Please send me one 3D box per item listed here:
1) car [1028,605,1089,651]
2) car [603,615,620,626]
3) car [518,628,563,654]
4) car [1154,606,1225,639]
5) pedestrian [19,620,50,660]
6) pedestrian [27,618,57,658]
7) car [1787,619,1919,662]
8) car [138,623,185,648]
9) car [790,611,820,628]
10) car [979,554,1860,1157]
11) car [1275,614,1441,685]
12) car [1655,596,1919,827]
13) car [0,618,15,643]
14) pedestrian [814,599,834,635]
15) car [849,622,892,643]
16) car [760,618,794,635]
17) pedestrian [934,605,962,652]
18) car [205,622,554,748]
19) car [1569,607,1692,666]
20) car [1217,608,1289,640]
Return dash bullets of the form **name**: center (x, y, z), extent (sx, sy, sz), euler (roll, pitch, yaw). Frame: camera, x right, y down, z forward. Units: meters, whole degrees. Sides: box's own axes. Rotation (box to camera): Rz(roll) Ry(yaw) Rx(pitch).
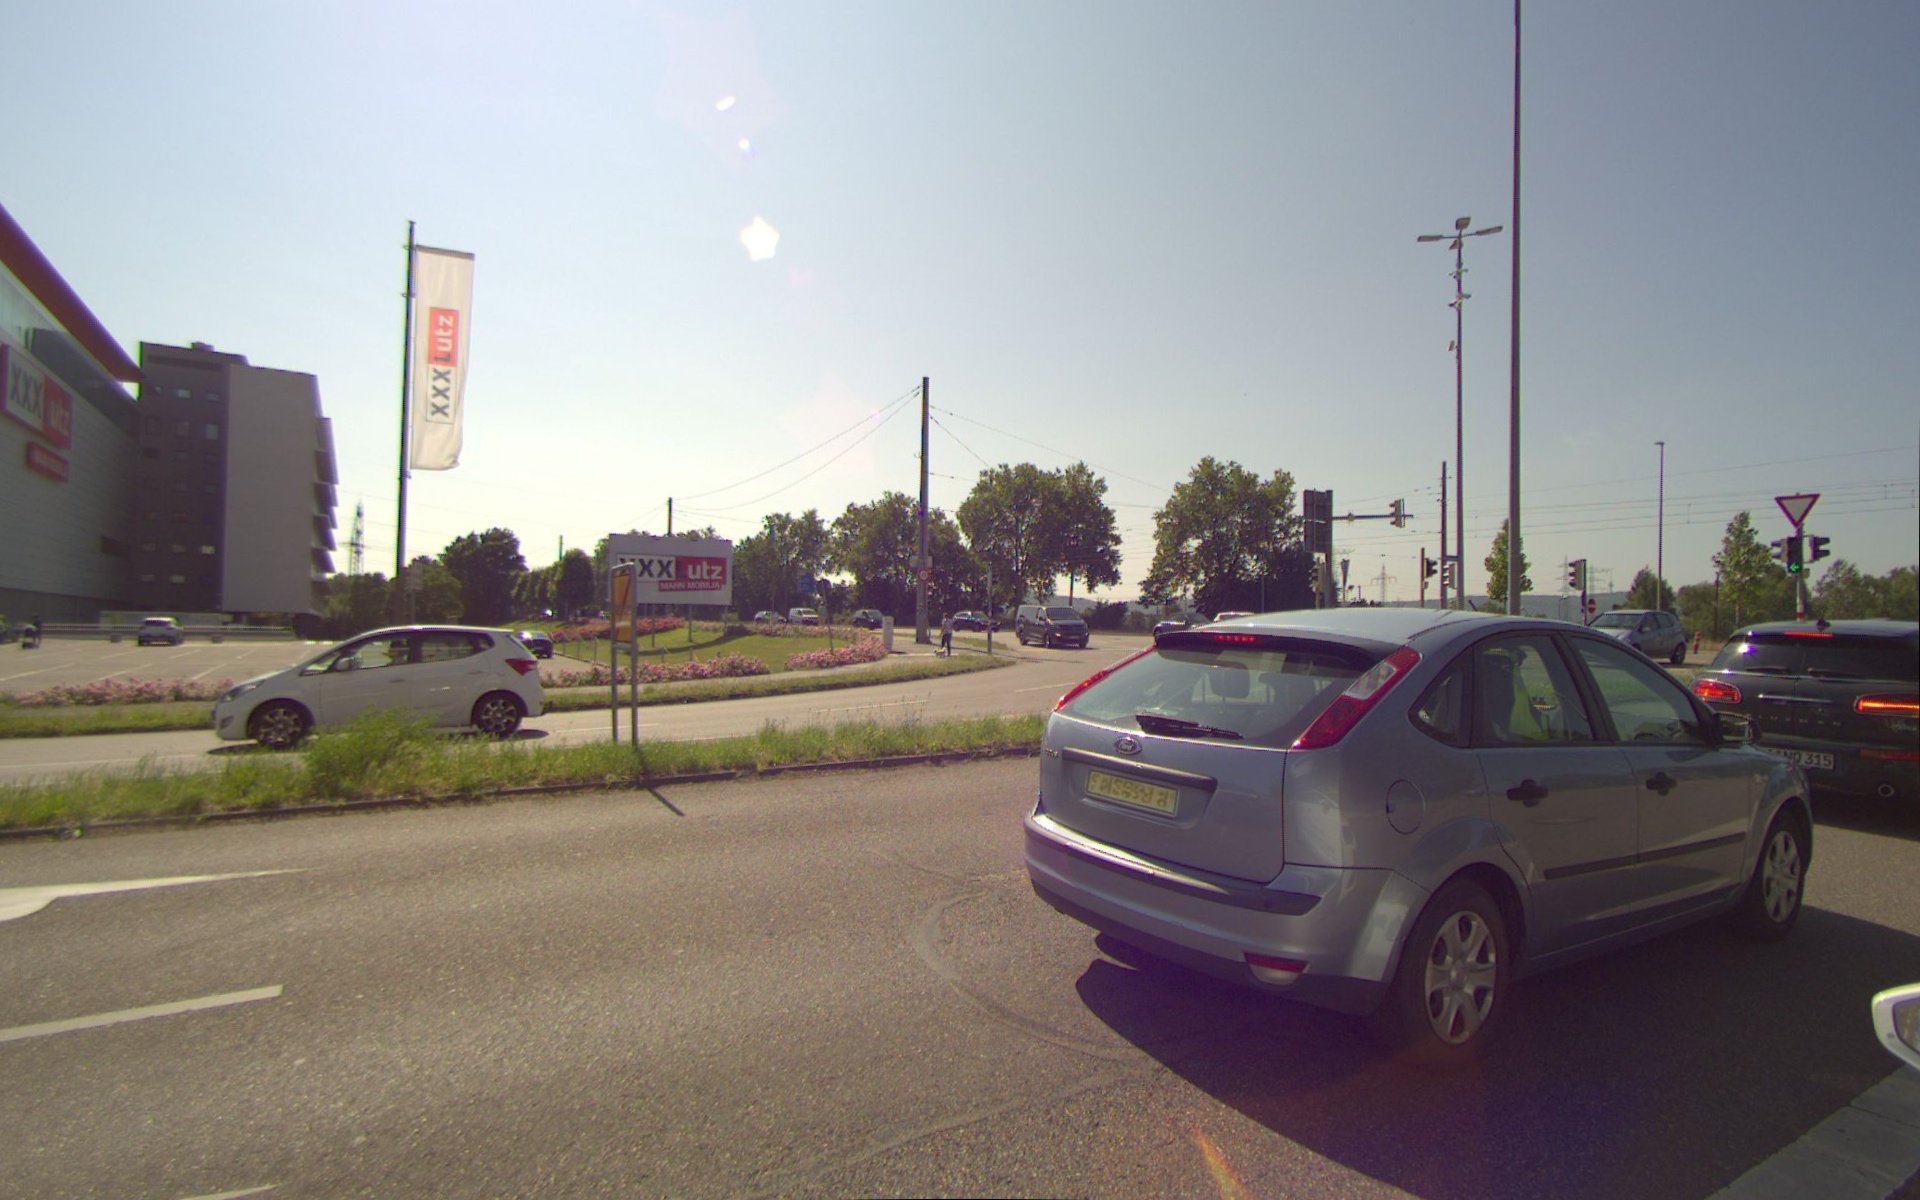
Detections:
- **car**: center (4.420, 1.243, 45.808), extent (1.784, 1.951, 3.993), euler (0, 0, -10)
- **car**: center (-54.485, 3.163, 156.912), extent (1.615, 1.646, 3.751), euler (1, -1, -33)
- **car**: center (-23.563, 2.275, 56.374), extent (1.710, 1.347, 3.826), euler (3, -2, -32)
- **car**: center (11.316, 1.109, 49.616), extent (1.395, 1.519, 3.366), euler (3, -2, -33)
- **pedestrian**: center (-47.611, 2.065, 51.704), extent (0.964, 2.040, 0.941), euler (1, -2, -31)
- **pedestrian**: center (-48.283, 1.999, 52.853), extent (0.964, 2.040, 0.941), euler (1, -2, -31)
- **car**: center (33.484, 1.450, 36.806), extent (4.720, 1.523, 2.065), euler (0, -1, -2)
- **car**: center (-47.385, 2.101, 59.686), extent (1.733, 1.347, 3.642), euler (3, -2, -32)
- **car**: center (-15.367, 1.961, 99.504), extent (1.615, 1.646, 3.751), euler (1, -1, -33)
- **car**: center (2.256, 0.735, 4.537), extent (4.130, 1.594, 1.696), euler (1, -2, -34)
- **car**: center (6.141, 0.738, 15.485), extent (2.463, 1.017, 1.112), euler (1, -2, -30)
- **car**: center (7.767, 0.790, 8.403), extent (4.154, 1.531, 1.728), euler (1, -2, -32)
- **car**: center (-53.954, 1.652, 55.806), extent (1.499, 1.347, 3.070), euler (3, -2, -32)
- **pedestrian**: center (-7.689, 0.944, 56.701), extent (0.906, 1.998, 0.713), euler (2, -2, -27)
- **car**: center (-7.083, 2.560, 79.260), extent (1.743, 1.541, 3.965), euler (1, -2, -32)
- **car**: center (-17.863, 2.538, 97.932), extent (1.888, 1.593, 3.804), euler (3, -2, -32)
- **pedestrian**: center (-0.457, 1.061, 37.772), extent (0.829, 1.729, 0.902), euler (0, -2, -17)
- **car**: center (-8.069, 1.133, 14.329), extent (4.037, 1.567, 1.786), euler (2, -1, -29)
- **car**: center (20.125, 1.051, 30.112), extent (3.872, 1.646, 1.619), euler (0, -1, -32)
- **car**: center (14.677, 1.210, 50.401), extent (1.396, 1.519, 3.321), euler (3, -2, -35)
